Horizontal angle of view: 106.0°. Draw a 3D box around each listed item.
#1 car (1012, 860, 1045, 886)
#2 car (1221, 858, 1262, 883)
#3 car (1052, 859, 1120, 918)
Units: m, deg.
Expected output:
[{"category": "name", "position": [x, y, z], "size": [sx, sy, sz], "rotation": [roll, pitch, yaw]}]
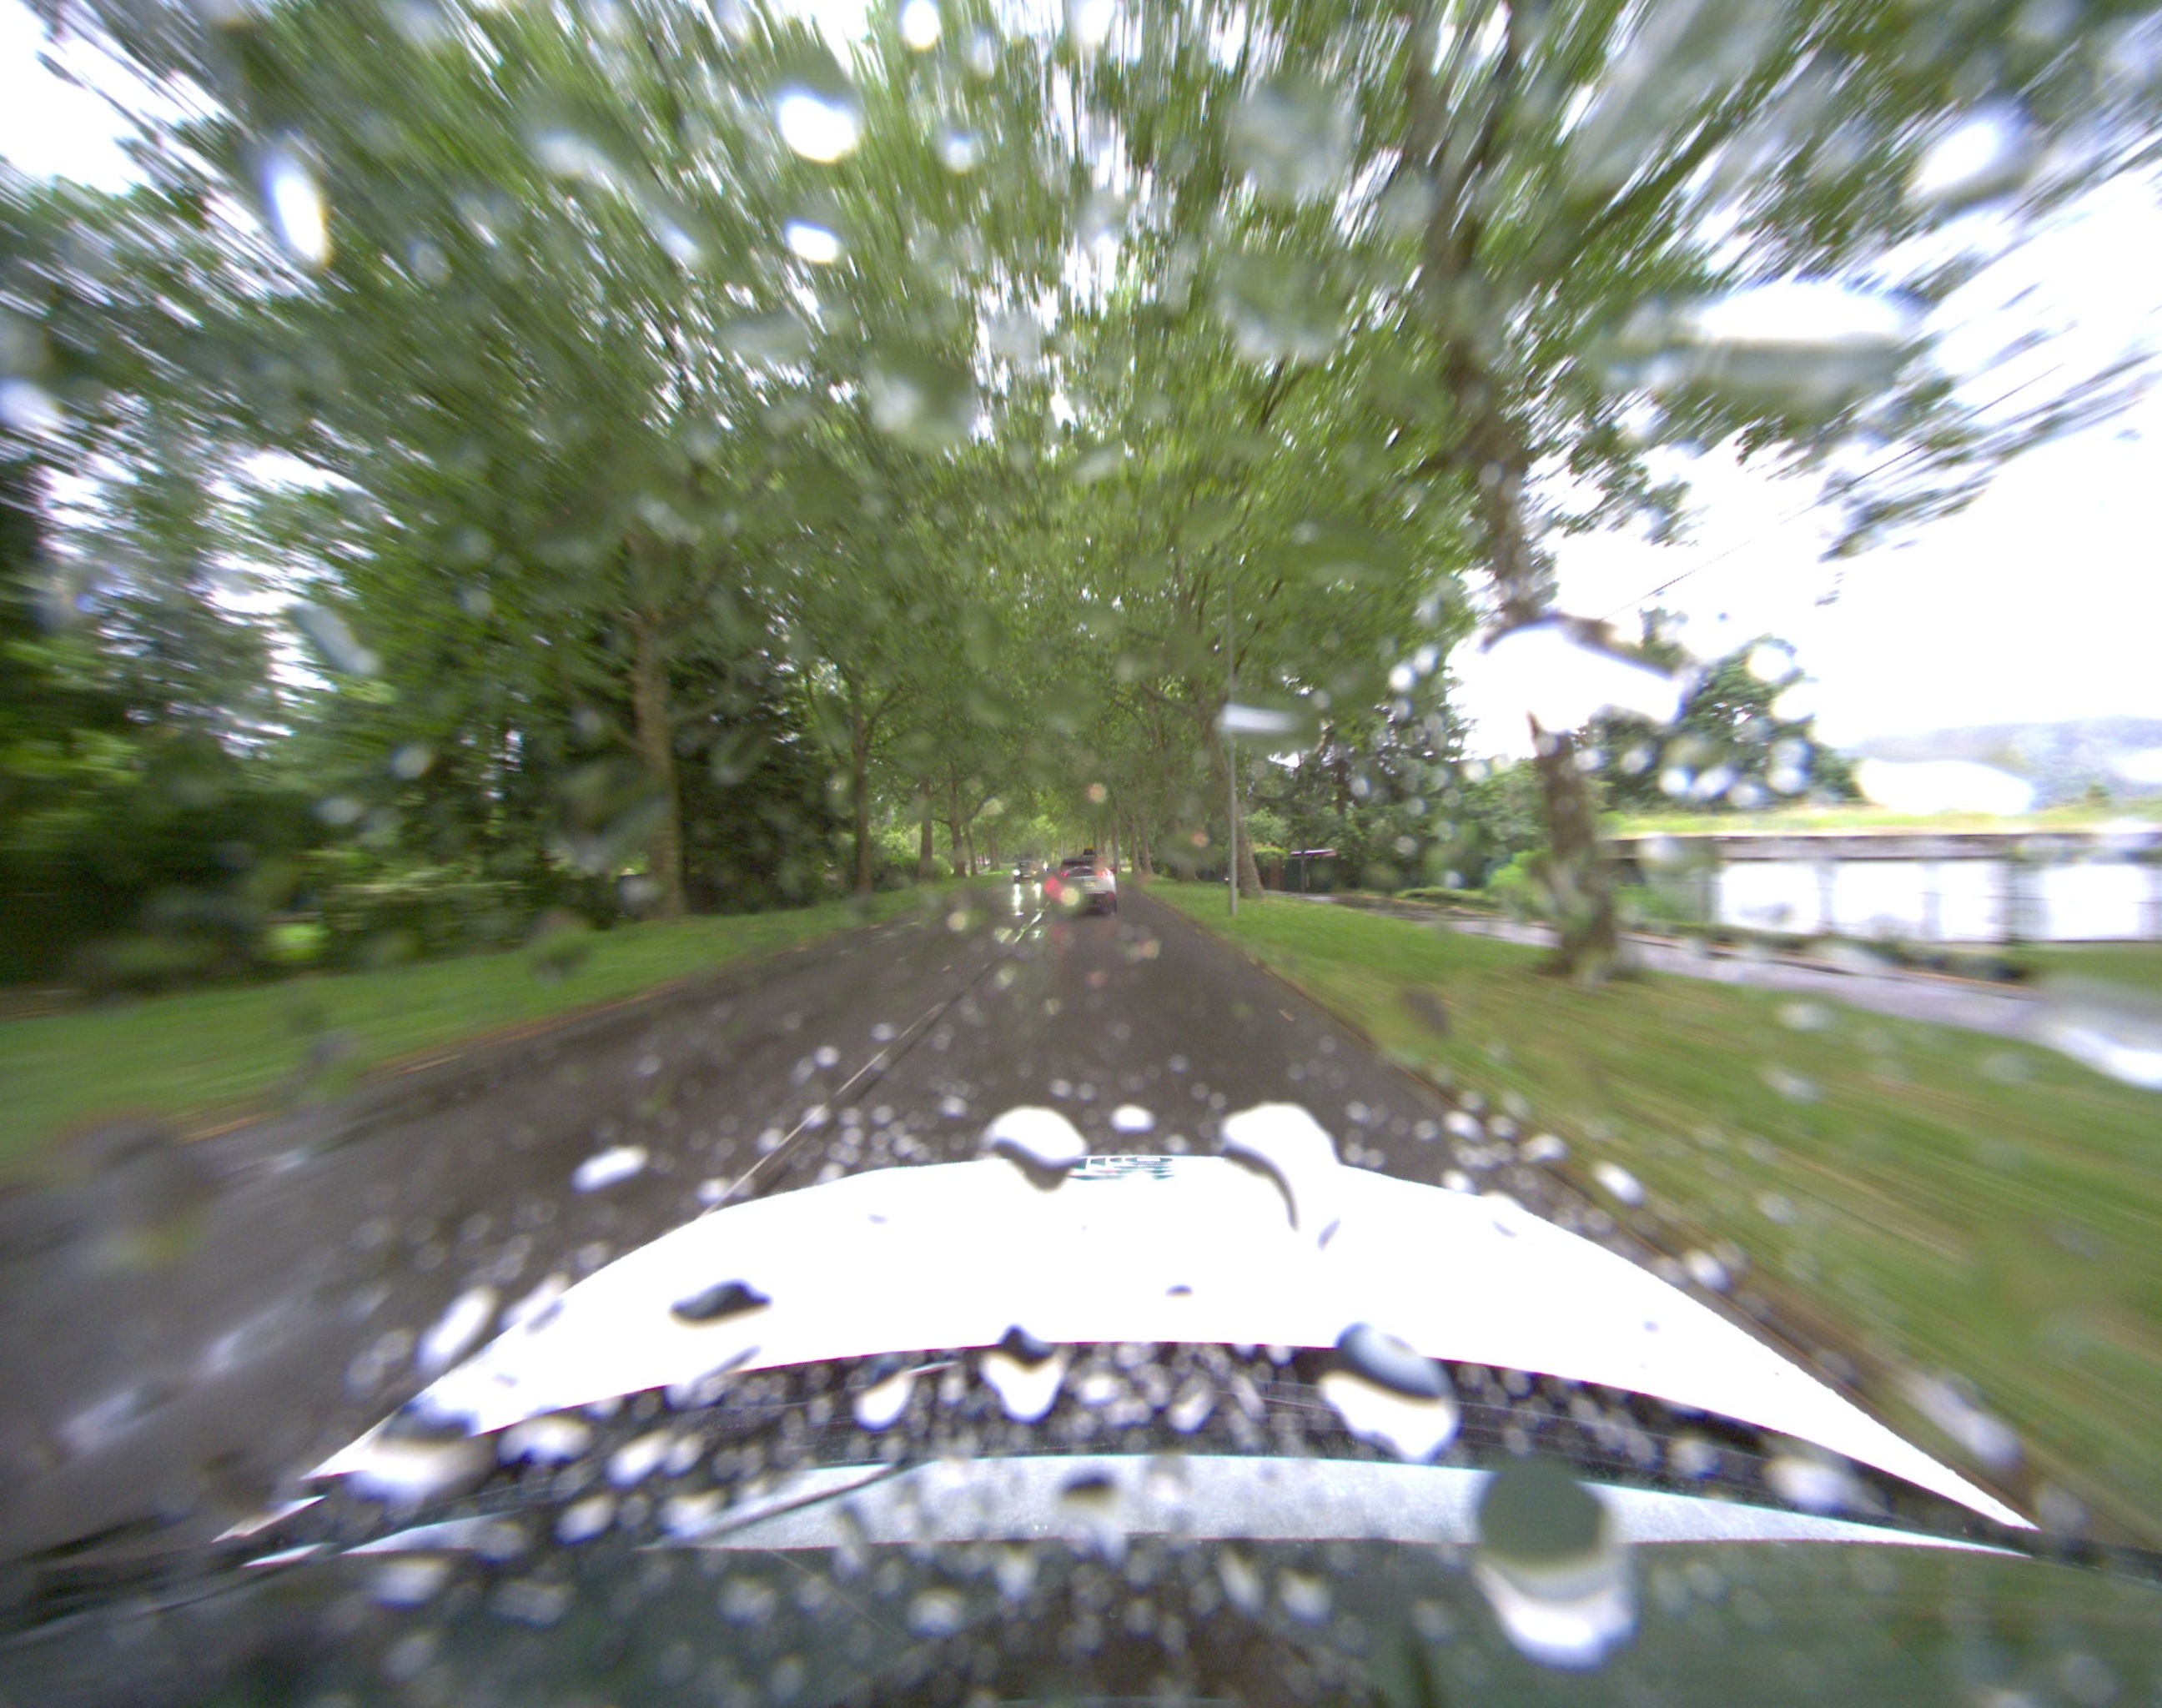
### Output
[{"category": "car", "position": [-3.558, 1.239, 55.462], "size": [1.866, 1.677, 3.710], "rotation": [-1, 0, 2]}, {"category": "car", "position": [10.020, 1.013, 51.015], "size": [1.898, 1.510, 3.933], "rotation": [0, 0, 2]}, {"category": "car", "position": [0.148, 0.917, 23.414], "size": [1.774, 1.536, 4.057], "rotation": [0, 0, 0]}]
